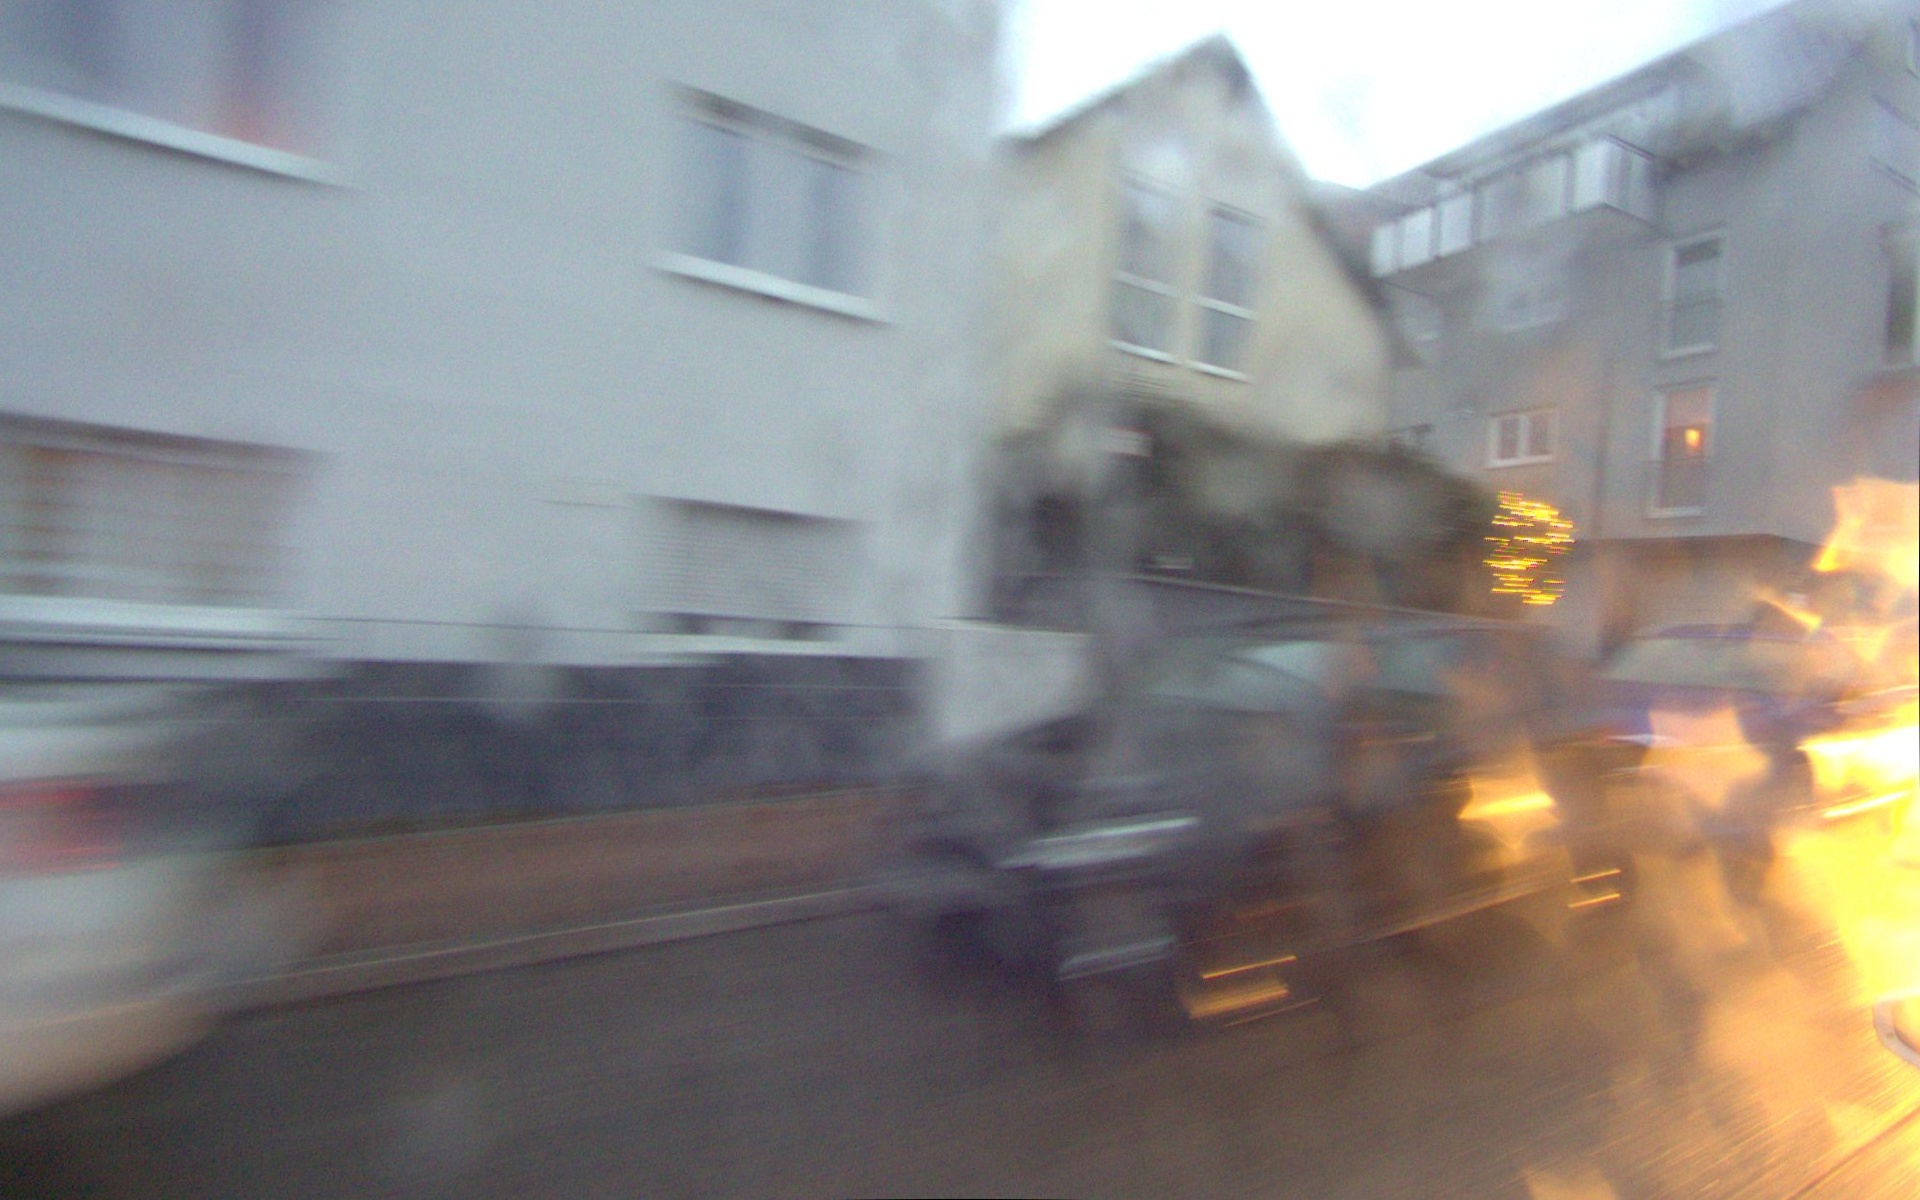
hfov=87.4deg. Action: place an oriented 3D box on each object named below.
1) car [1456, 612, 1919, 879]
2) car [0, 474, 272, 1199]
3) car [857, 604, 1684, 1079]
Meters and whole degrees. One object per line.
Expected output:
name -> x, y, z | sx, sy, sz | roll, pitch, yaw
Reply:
car -> 5.815, 0.877, 7.569 | 4.392, 1.463, 1.724 | 2, 0, -33
car -> -3.855, 0.555, 1.627 | 4.373, 1.646, 1.908 | 2, -1, -32
car -> 1.671, 0.790, 4.909 | 3.991, 1.455, 1.724 | 2, -1, -33
